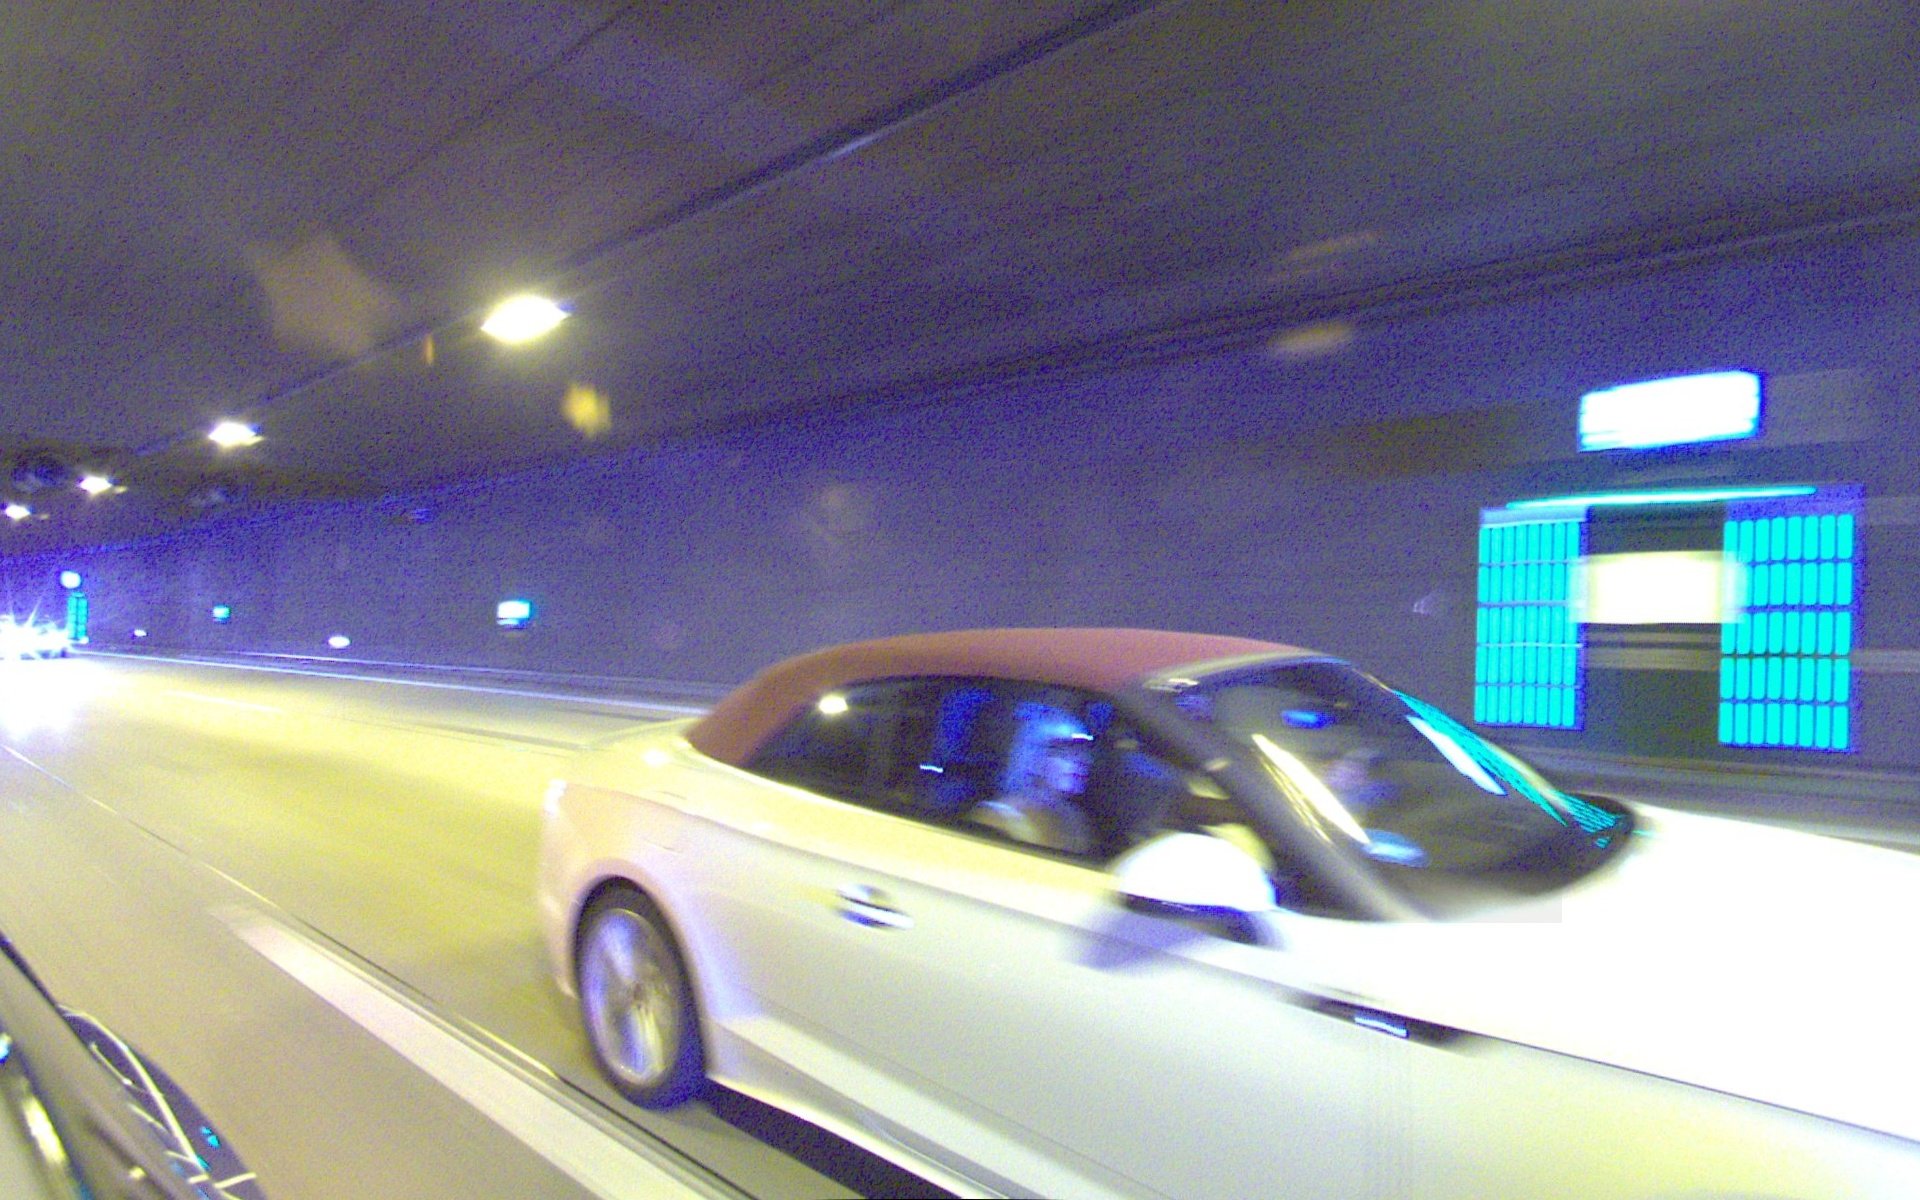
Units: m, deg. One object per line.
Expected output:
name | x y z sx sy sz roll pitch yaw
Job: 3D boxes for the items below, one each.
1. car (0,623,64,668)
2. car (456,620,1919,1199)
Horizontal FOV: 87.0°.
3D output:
car | -32.141 1.512 34.553 3.996 1.466 1.717 -1 -1 39
car | 0.698 0.796 2.570 5.056 1.429 1.685 0 -1 40
